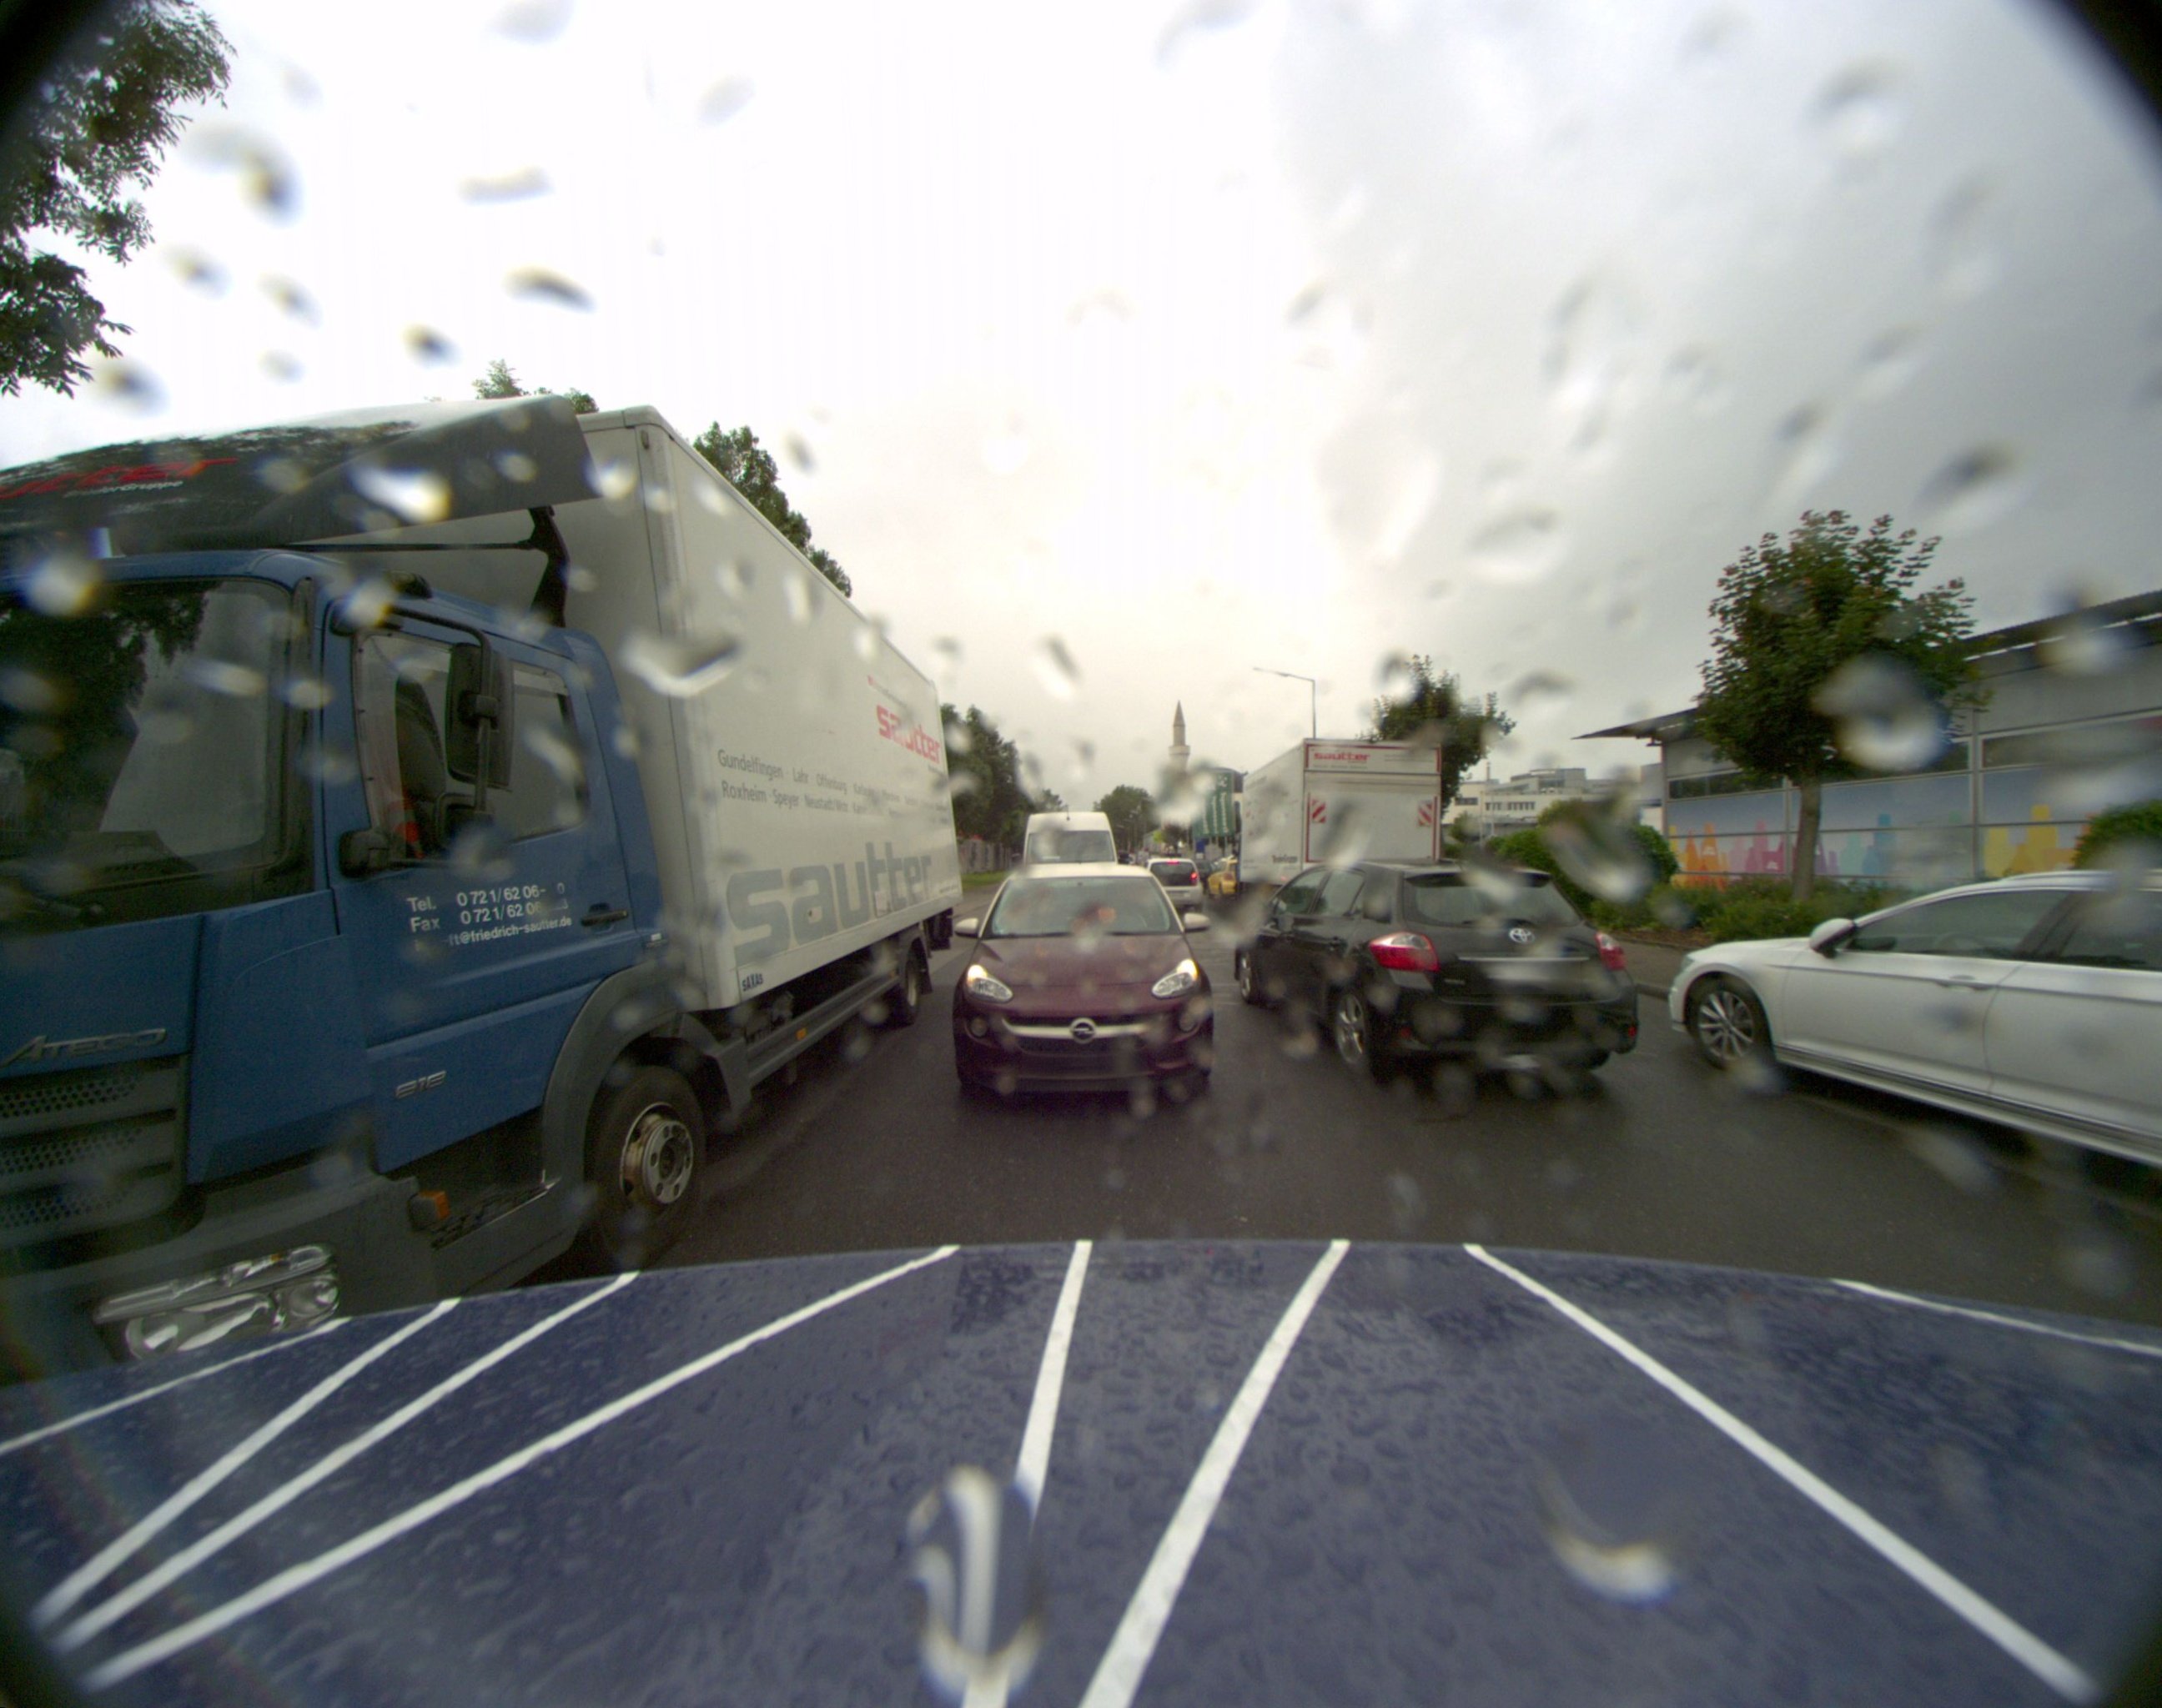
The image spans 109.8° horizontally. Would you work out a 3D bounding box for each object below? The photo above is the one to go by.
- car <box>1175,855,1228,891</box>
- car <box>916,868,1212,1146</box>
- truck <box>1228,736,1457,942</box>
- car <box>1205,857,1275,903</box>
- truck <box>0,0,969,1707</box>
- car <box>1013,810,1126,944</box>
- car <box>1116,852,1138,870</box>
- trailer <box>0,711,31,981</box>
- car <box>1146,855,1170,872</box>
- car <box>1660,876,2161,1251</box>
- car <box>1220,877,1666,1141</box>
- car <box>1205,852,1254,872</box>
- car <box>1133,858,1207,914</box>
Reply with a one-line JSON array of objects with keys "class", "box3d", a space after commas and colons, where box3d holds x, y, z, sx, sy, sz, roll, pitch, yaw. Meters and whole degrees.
[{"class": "car", "box3d": [5.187, 0.775, 33.111, 1.691, 1.457, 3.513, -1, 0, 0]}, {"class": "car", "box3d": [-0.077, 0.912, 6.143, 1.637, 1.446, 3.578, -2, 0, 0]}, {"class": "truck", "box3d": [5.532, -0.272, 17.799, 2.888, 3.724, 7.868, -1, 0, 2]}, {"class": "car", "box3d": [5.494, 0.850, 26.596, 1.691, 1.457, 3.513, -1, 0, 0]}, {"class": "truck", "box3d": [-2.954, -0.015, 5.527, 2.678, 3.670, 8.009, -4, 0, 1]}, {"class": "car", "box3d": [-0.258, 0.430, 16.947, 2.085, 2.466, 5.346, -1, 0, -1]}, {"class": "car", "box3d": [4.068, 0.626, 67.972, 1.691, 1.588, 3.611, -1, 0, 0]}, {"class": "trailer", "box3d": [-18.400, -0.021, 7.379, 2.974, 4.219, 9.469, -1, 1, 1]}, {"class": "car", "box3d": [6.439, 0.744, 63.636, 1.579, 1.333, 3.611, -1, 0, 0]}, {"class": "car", "box3d": [5.303, 0.897, 3.555, 1.840, 1.426, 4.492, 1, 0, 2]}, {"class": "car", "box3d": [2.505, 0.961, 6.464, 1.735, 1.432, 3.999, 0, 0, -3]}, {"class": "car", "box3d": [12.089, 0.630, 62.051, 3.609, 1.588, 1.692, -1, 0, -2]}, {"class": "car", "box3d": [2.453, 0.847, 21.707, 1.615, 1.430, 3.407, 1, 0, -2]}]
